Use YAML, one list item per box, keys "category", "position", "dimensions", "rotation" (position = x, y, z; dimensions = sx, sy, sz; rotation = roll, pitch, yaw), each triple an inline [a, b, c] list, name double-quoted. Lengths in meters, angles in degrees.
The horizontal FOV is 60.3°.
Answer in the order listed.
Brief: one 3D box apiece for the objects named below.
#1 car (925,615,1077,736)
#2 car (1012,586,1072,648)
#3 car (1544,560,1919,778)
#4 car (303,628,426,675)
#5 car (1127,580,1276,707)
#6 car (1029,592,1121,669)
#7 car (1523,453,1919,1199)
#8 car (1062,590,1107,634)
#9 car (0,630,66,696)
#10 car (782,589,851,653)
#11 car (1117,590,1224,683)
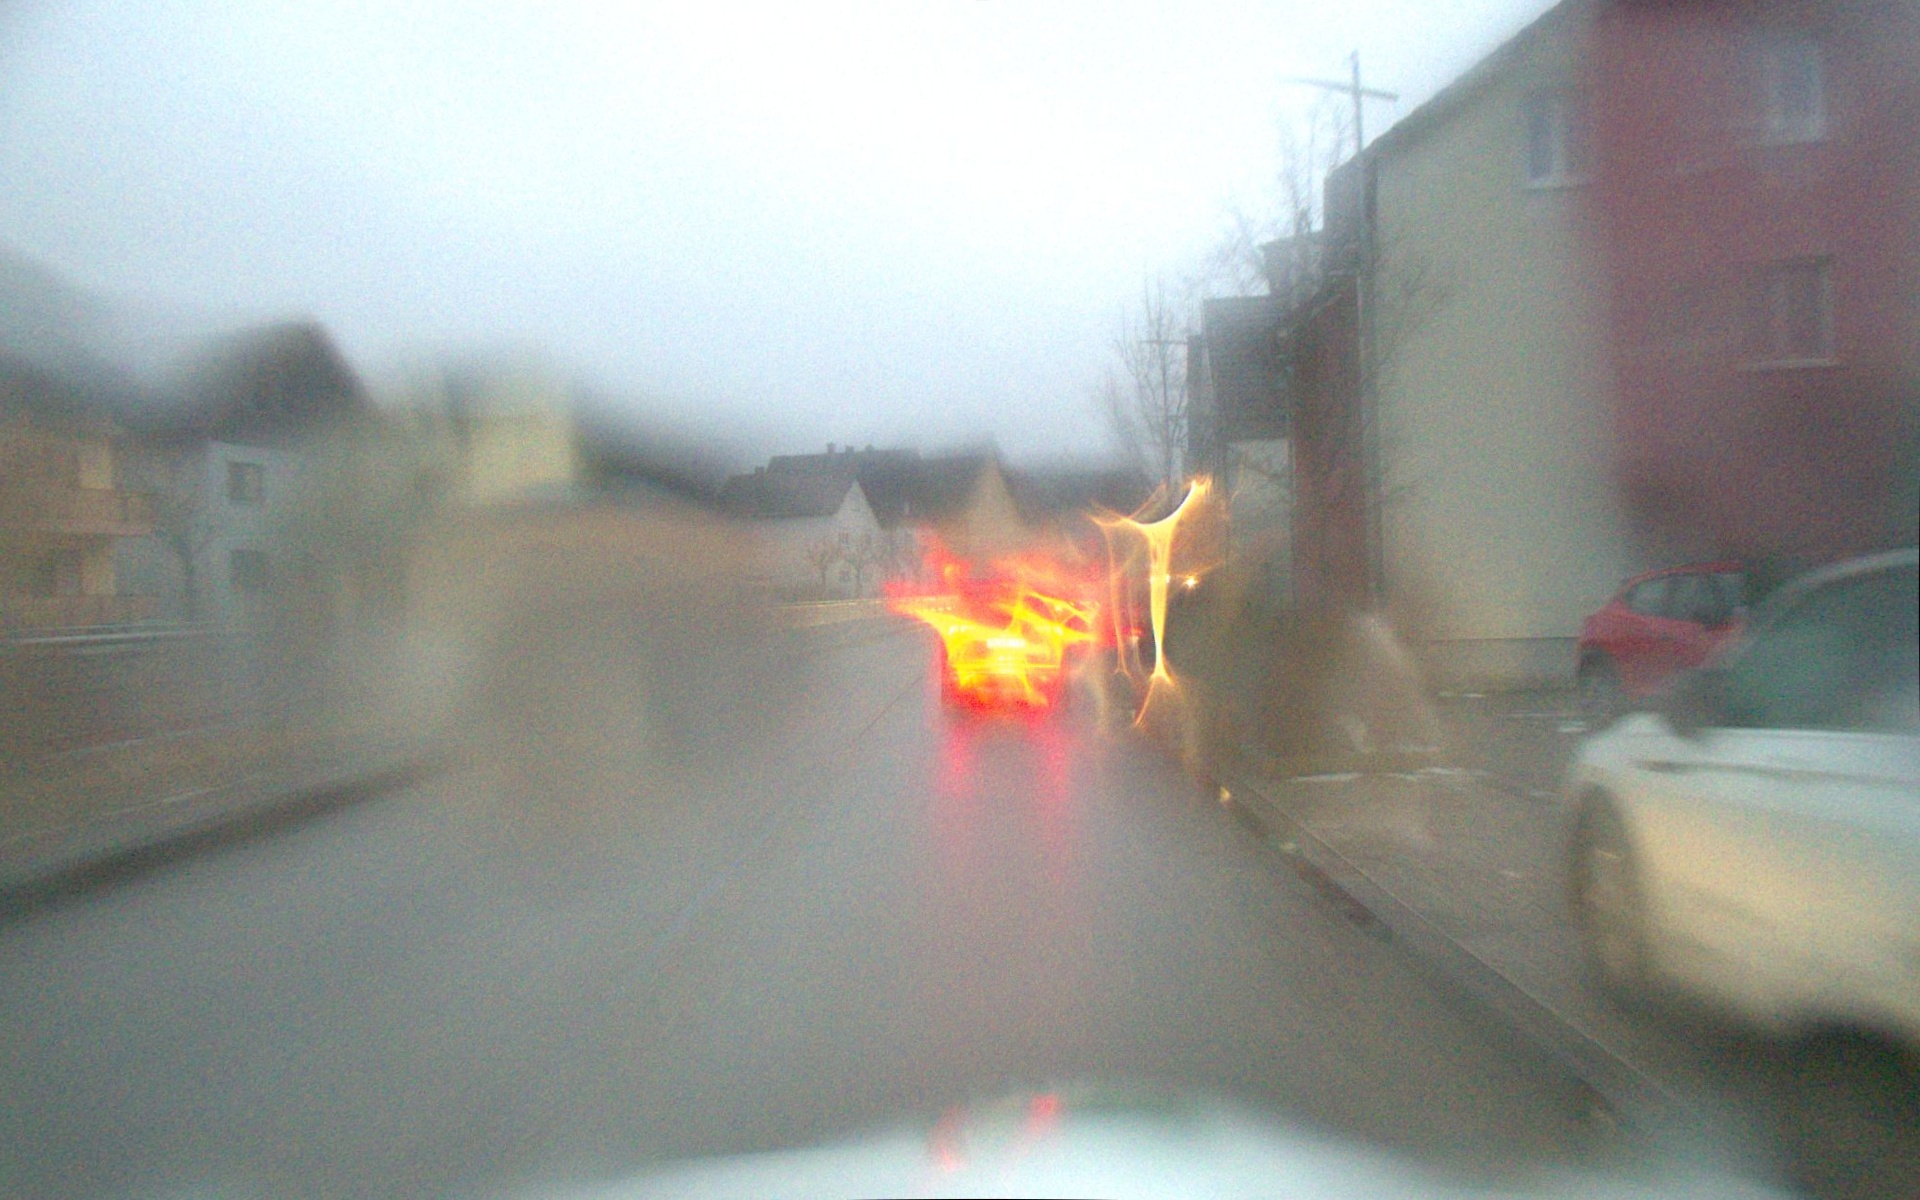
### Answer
- category: "car"
  position: [0.586, 1.004, 23.598]
  dimensions: [1.952, 1.552, 4.001]
  rotation: [-1, -1, 1]
- category: "car"
  position: [2.887, 0.597, 57.684]
  dimensions: [1.951, 2.049, 4.002]
  rotation: [-1, -1, 4]
- category: "car"
  position: [6.908, 0.533, 14.854]
  dimensions: [1.749, 1.669, 3.569]
  rotation: [-2, 0, -6]
- category: "car"
  position: [-18.844, 1.604, 52.566]
  dimensions: [1.951, 1.330, 4.116]
  rotation: [0, 0, 8]
- category: "car"
  position: [3.536, 0.608, 24.837]
  dimensions: [1.951, 1.699, 4.002]
  rotation: [-2, 0, 5]
- category: "car"
  position: [2.666, 0.679, 39.149]
  dimensions: [1.952, 1.709, 4.000]
  rotation: [0, 0, 1]
- category: "car"
  position: [3.144, 0.506, 4.527]
  dimensions: [1.709, 1.816, 4.336]
  rotation: [-3, 0, 1]
- category: "car"
  position: [6.058, 0.590, 80.231]
  dimensions: [1.951, 2.049, 4.003]
  rotation: [-1, -1, 7]
- category: "car"
  position: [-21.137, 1.338, 34.870]
  dimensions: [1.951, 1.330, 4.116]
  rotation: [0, 0, 8]
- category: "car"
  position: [-4.781, 0.720, 55.684]
  dimensions: [1.953, 2.049, 4.000]
  rotation: [-1, -1, 0]
- category: "car"
  position: [4.152, 0.680, 32.713]
  dimensions: [1.951, 1.699, 4.003]
  rotation: [-1, 0, 7]
